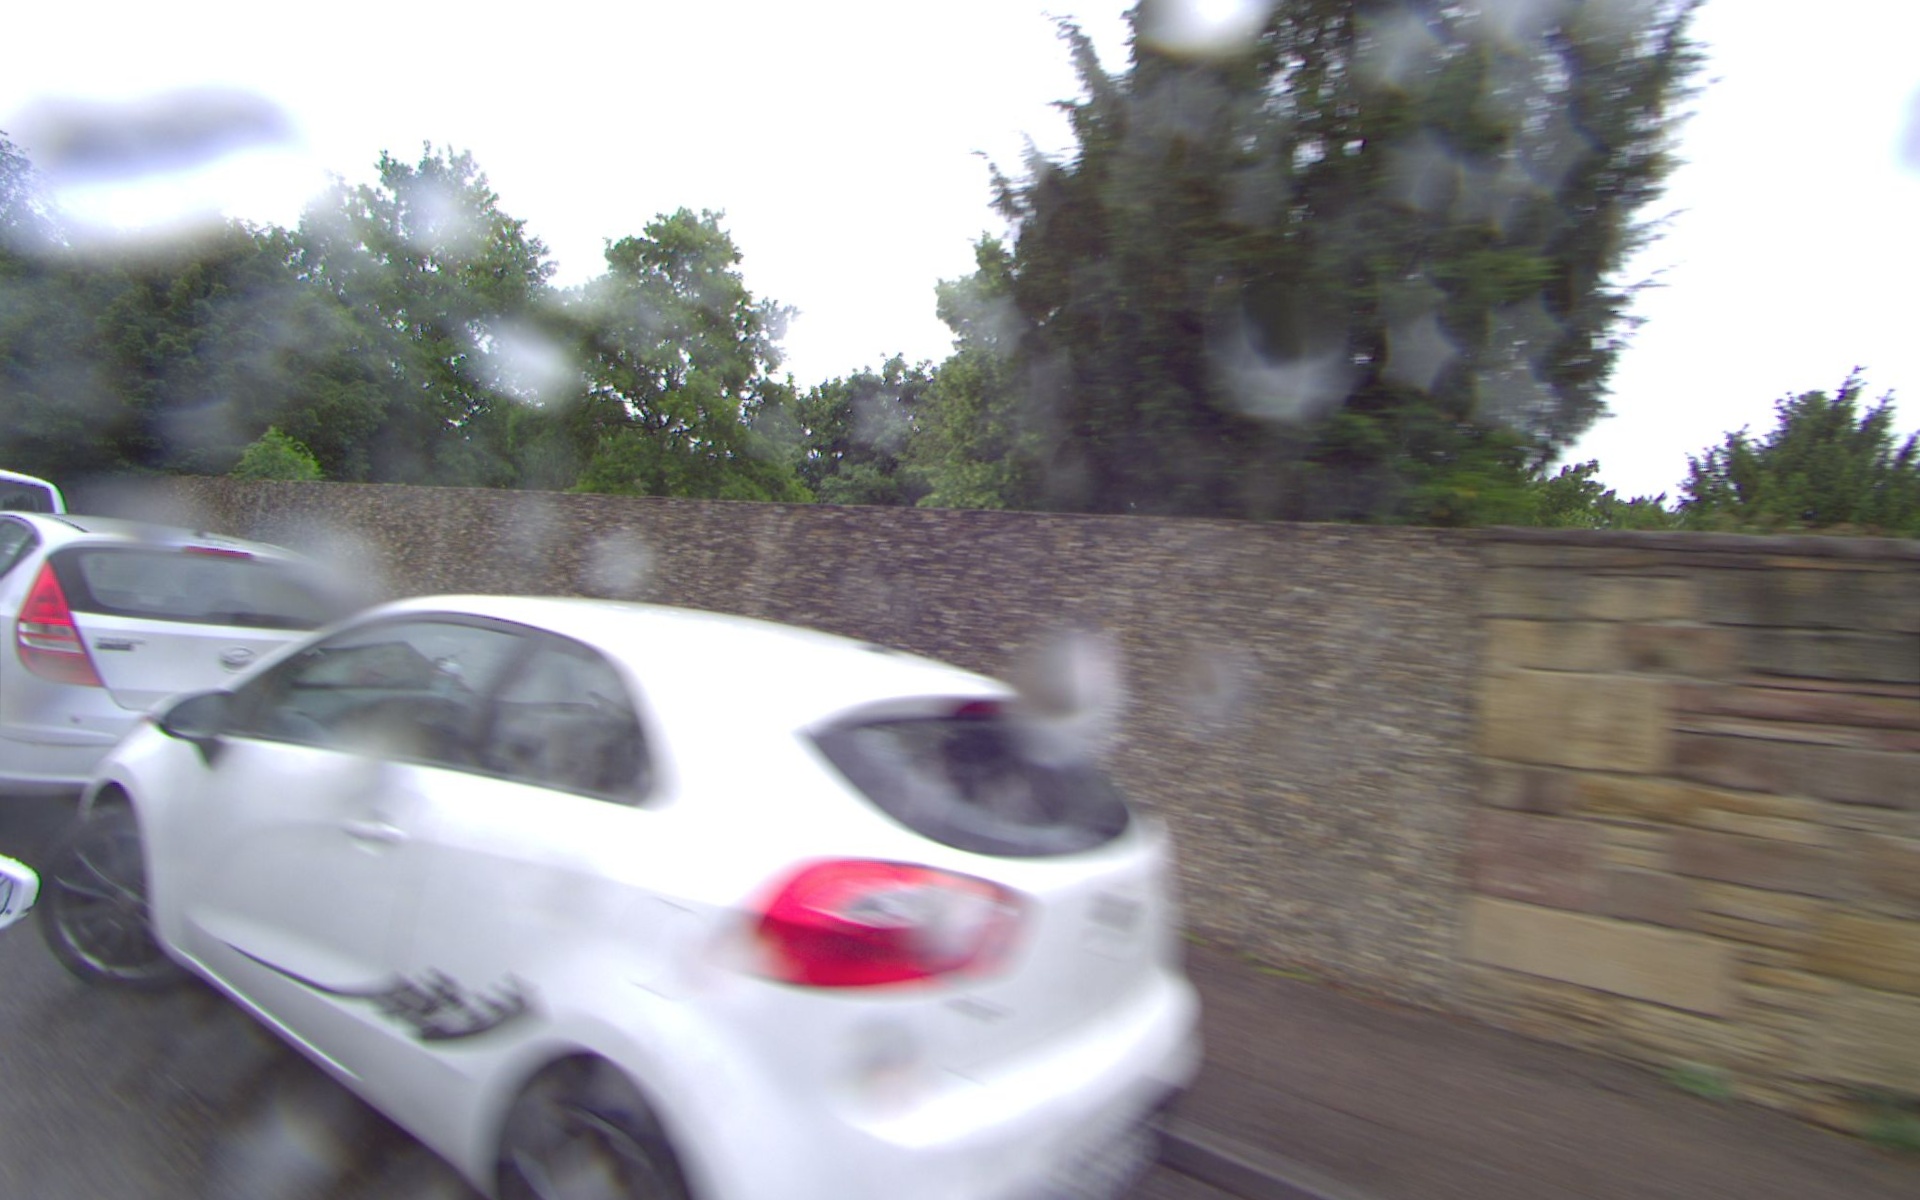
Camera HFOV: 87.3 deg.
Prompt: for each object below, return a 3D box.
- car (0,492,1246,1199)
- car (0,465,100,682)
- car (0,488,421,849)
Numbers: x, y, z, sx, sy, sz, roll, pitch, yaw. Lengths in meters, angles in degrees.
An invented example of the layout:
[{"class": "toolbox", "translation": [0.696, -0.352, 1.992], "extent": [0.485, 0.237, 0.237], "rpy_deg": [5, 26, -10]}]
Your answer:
[{"class": "car", "translation": [-1.368, 0.618, 3.241], "extent": [3.974, 1.496, 1.615], "rpy_deg": [6, -3, 34]}, {"class": "car", "translation": [-9.760, -0.421, 9.363], "extent": [4.073, 1.760, 1.639], "rpy_deg": [6, -3, 37]}, {"class": "car", "translation": [-5.092, 0.246, 5.898], "extent": [3.938, 1.478, 1.649], "rpy_deg": [5, -4, 35]}]
